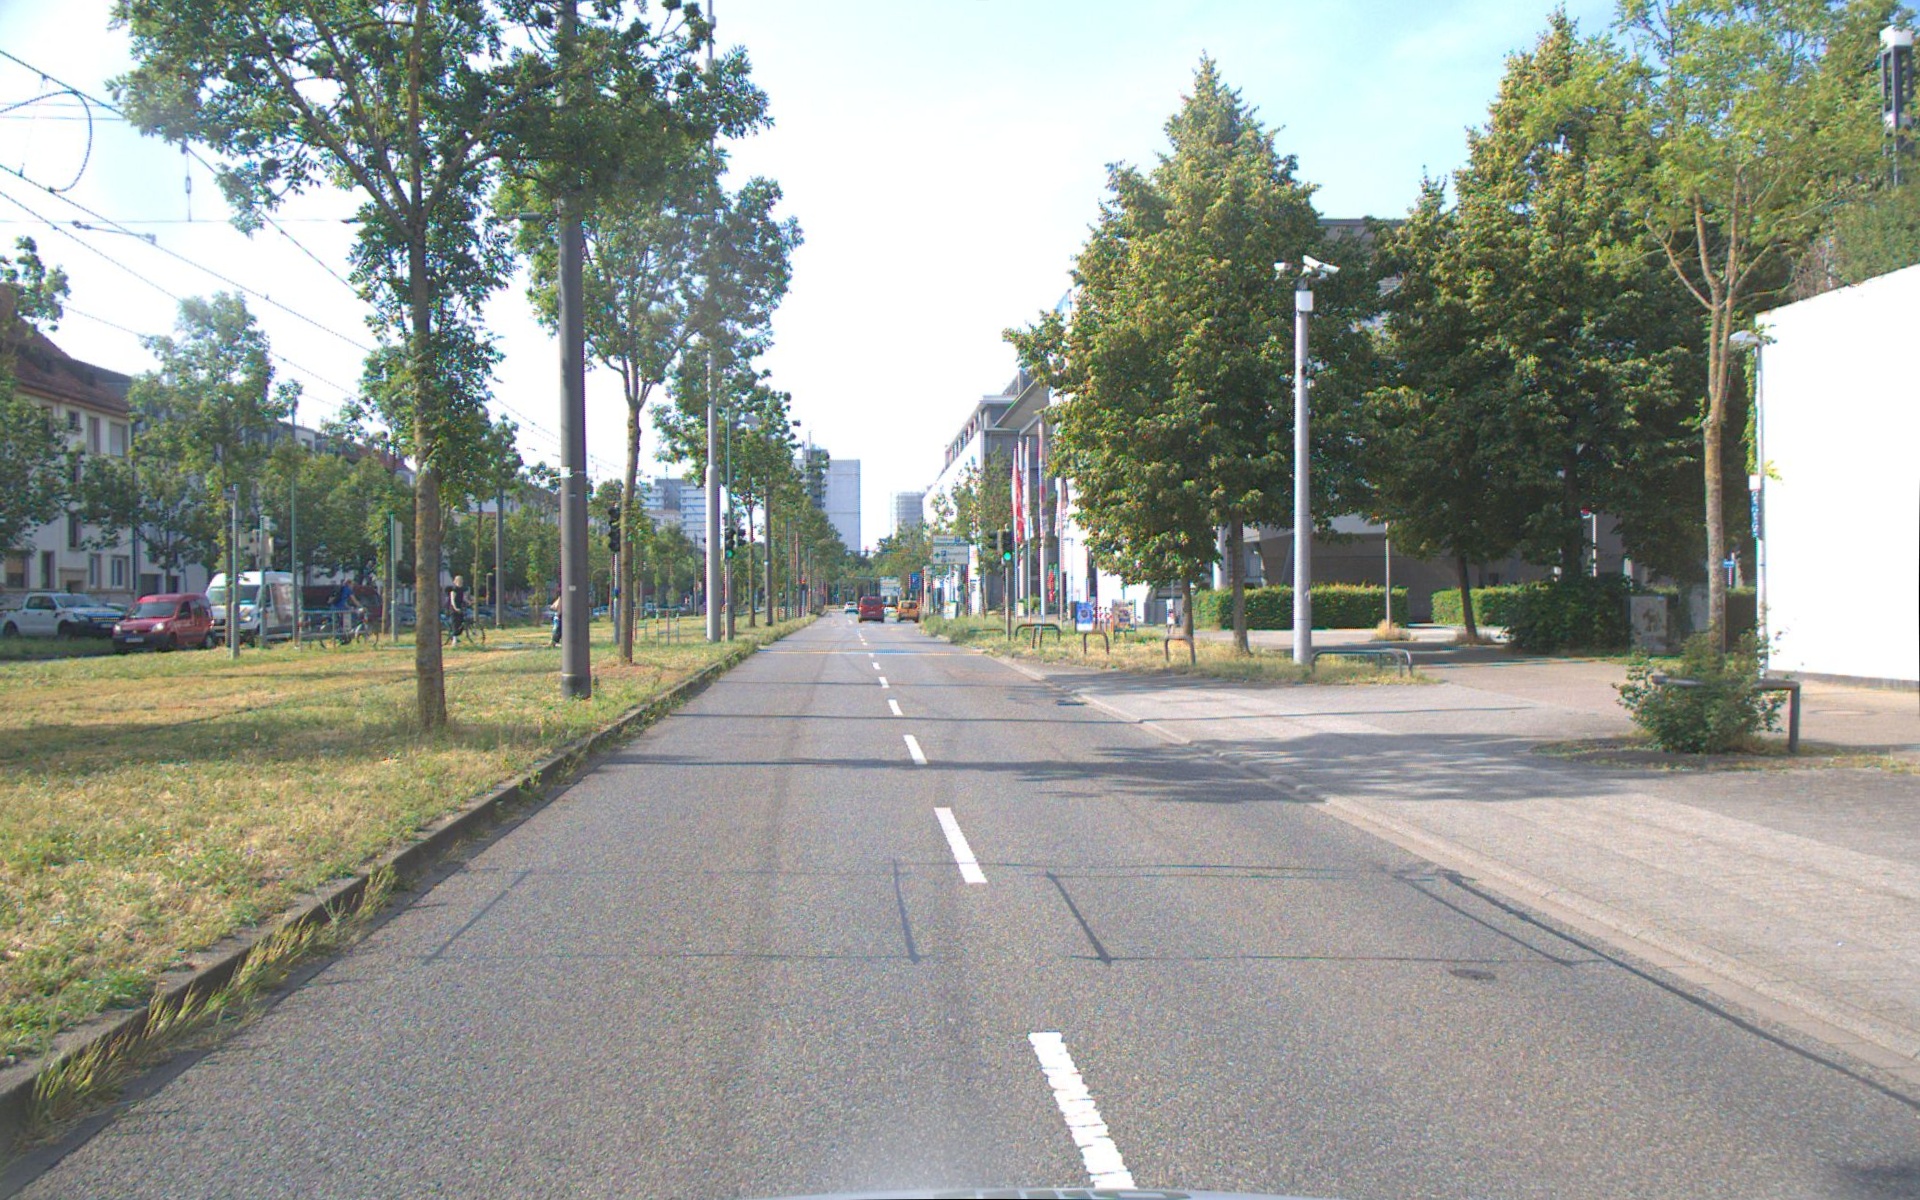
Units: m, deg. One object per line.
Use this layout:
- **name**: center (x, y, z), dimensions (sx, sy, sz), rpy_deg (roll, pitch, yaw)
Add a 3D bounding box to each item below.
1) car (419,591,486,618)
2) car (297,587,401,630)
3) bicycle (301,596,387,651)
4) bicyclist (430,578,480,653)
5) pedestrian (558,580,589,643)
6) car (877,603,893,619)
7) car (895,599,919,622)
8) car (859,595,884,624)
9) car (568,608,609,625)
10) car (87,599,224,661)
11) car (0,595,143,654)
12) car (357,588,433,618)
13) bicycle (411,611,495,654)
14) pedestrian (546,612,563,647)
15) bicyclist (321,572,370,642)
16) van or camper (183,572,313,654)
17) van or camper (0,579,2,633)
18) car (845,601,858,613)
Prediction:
- **car**: center (-31.393, 0.281, 102.313), dimensions (3.905, 1.557, 1.463), rpy_deg (2, -1, 22)
- **car**: center (-31.883, 0.441, 86.267), dimensions (5.111, 2.049, 1.876), rpy_deg (2, -1, 22)
- **bicycle**: center (-16.107, 0.616, 43.247), dimensions (2.037, 1.347, 0.778), rpy_deg (2, -1, -22)
- **bicyclist**: center (-13.525, 0.423, 44.310), dimensions (1.125, 1.968, 0.685), rpy_deg (2, -1, -9)
- **pedestrian**: center (-9.924, 0.296, 42.434), dimensions (0.612, 1.599, 0.710), rpy_deg (2, -1, -3)
- **car**: center (-8.383, 1.223, 185.461), dimensions (1.713, 1.679, 3.213), rpy_deg (2, -1, -3)
- **car**: center (-4.212, 0.838, 131.173), dimensions (1.713, 1.679, 3.213), rpy_deg (2, -1, -3)
- **car**: center (-6.490, 0.730, 121.134), dimensions (1.713, 2.049, 3.213), rpy_deg (2, -1, -3)
- **car**: center (-39.218, 1.756, 174.623), dimensions (3.905, 1.624, 1.655), rpy_deg (2, -1, 22)
- **car**: center (-23.856, 0.877, 49.238), dimensions (1.925, 1.723, 4.296), rpy_deg (2, -1, -1)
- **car**: center (-29.591, 0.783, 54.720), dimensions (5.211, 1.768, 1.996), rpy_deg (1, -1, 30)
- **car**: center (-31.386, 0.183, 91.883), dimensions (3.905, 1.557, 1.463), rpy_deg (2, -1, 22)
- **bicycle**: center (-13.554, 0.869, 44.285), dimensions (2.028, 1.060, 0.666), rpy_deg (2, -1, -9)
- **pedestrian**: center (-10.446, 0.752, 42.619), dimensions (0.334, 0.890, 0.460), rpy_deg (2, -1, -3)
- **bicyclist**: center (-16.080, 0.178, 43.251), dimensions (1.131, 1.792, 0.681), rpy_deg (2, -1, -22)
- **van or camper**: center (-24.217, 0.440, 56.543), dimensions (2.160, 2.575, 6.024), rpy_deg (2, -1, -5)
- **van or camper**: center (-36.869, 0.357, 59.130), dimensions (1.953, 2.369, 5.825), rpy_deg (2, -1, -2)
- **car**: center (-15.123, 0.996, 231.150), dimensions (1.713, 1.679, 3.213), rpy_deg (2, -1, -3)
